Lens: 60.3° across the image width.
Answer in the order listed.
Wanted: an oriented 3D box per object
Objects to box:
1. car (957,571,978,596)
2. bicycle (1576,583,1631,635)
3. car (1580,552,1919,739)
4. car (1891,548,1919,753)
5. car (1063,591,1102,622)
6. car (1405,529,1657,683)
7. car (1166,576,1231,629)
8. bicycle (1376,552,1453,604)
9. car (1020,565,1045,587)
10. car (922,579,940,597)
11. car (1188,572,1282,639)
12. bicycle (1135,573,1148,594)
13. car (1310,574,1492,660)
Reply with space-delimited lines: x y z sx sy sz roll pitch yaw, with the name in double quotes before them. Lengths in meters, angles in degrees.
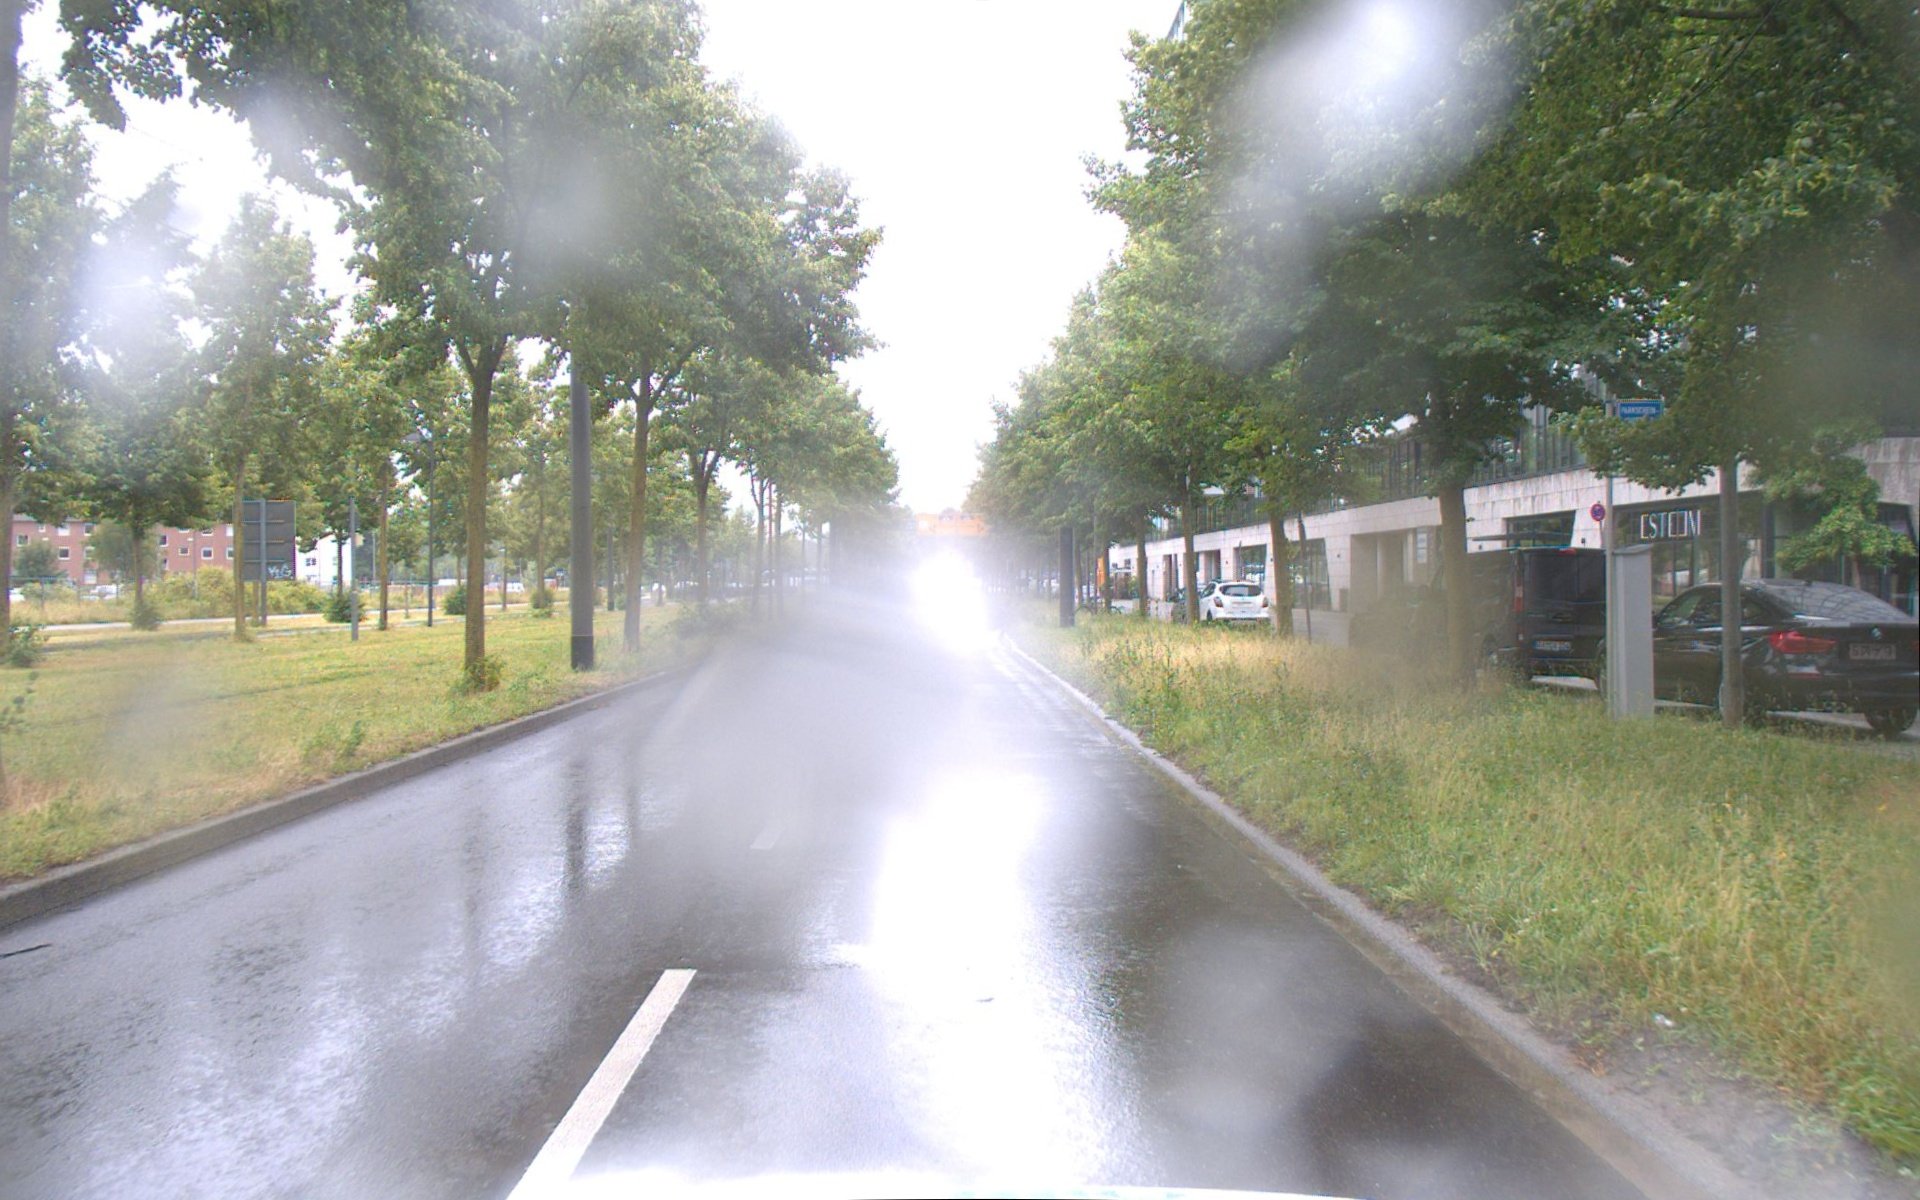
"car" 0.662 -1.501 149.801 1.901 2.048 4.001 -1 3 -1
"bicycle" 14.781 0.182 38.032 0.507 1.150 2.065 -1 1 1
"car" 8.606 0.351 17.819 1.953 1.698 4.958 -1 2 -1
"car" 8.962 0.445 11.752 1.953 1.698 4.722 -1 1 -2
"car" 7.034 0.347 95.279 1.843 1.532 4.724 -1 3 -1
"car" 8.305 -0.031 24.609 1.953 1.986 5.030 -1 3 -1
"car" 7.846 0.054 54.606 1.592 1.516 3.656 -1 3 -1
"bicycle" 16.725 -0.813 60.909 2.624 1.893 0.707 -1 1 4
"car" 6.271 -2.110 144.077 1.867 1.822 4.687 -1 1 -1
"car" -3.535 -1.507 201.597 1.952 2.048 4.002 -1 3 1
"car" 8.104 0.112 49.159 1.953 1.698 4.724 -1 3 -1
"bicycle" 15.840 -1.454 144.582 0.756 1.752 3.120 -1 3 -1
"car" 8.539 0.277 32.438 1.919 1.539 4.475 -1 1 -7
